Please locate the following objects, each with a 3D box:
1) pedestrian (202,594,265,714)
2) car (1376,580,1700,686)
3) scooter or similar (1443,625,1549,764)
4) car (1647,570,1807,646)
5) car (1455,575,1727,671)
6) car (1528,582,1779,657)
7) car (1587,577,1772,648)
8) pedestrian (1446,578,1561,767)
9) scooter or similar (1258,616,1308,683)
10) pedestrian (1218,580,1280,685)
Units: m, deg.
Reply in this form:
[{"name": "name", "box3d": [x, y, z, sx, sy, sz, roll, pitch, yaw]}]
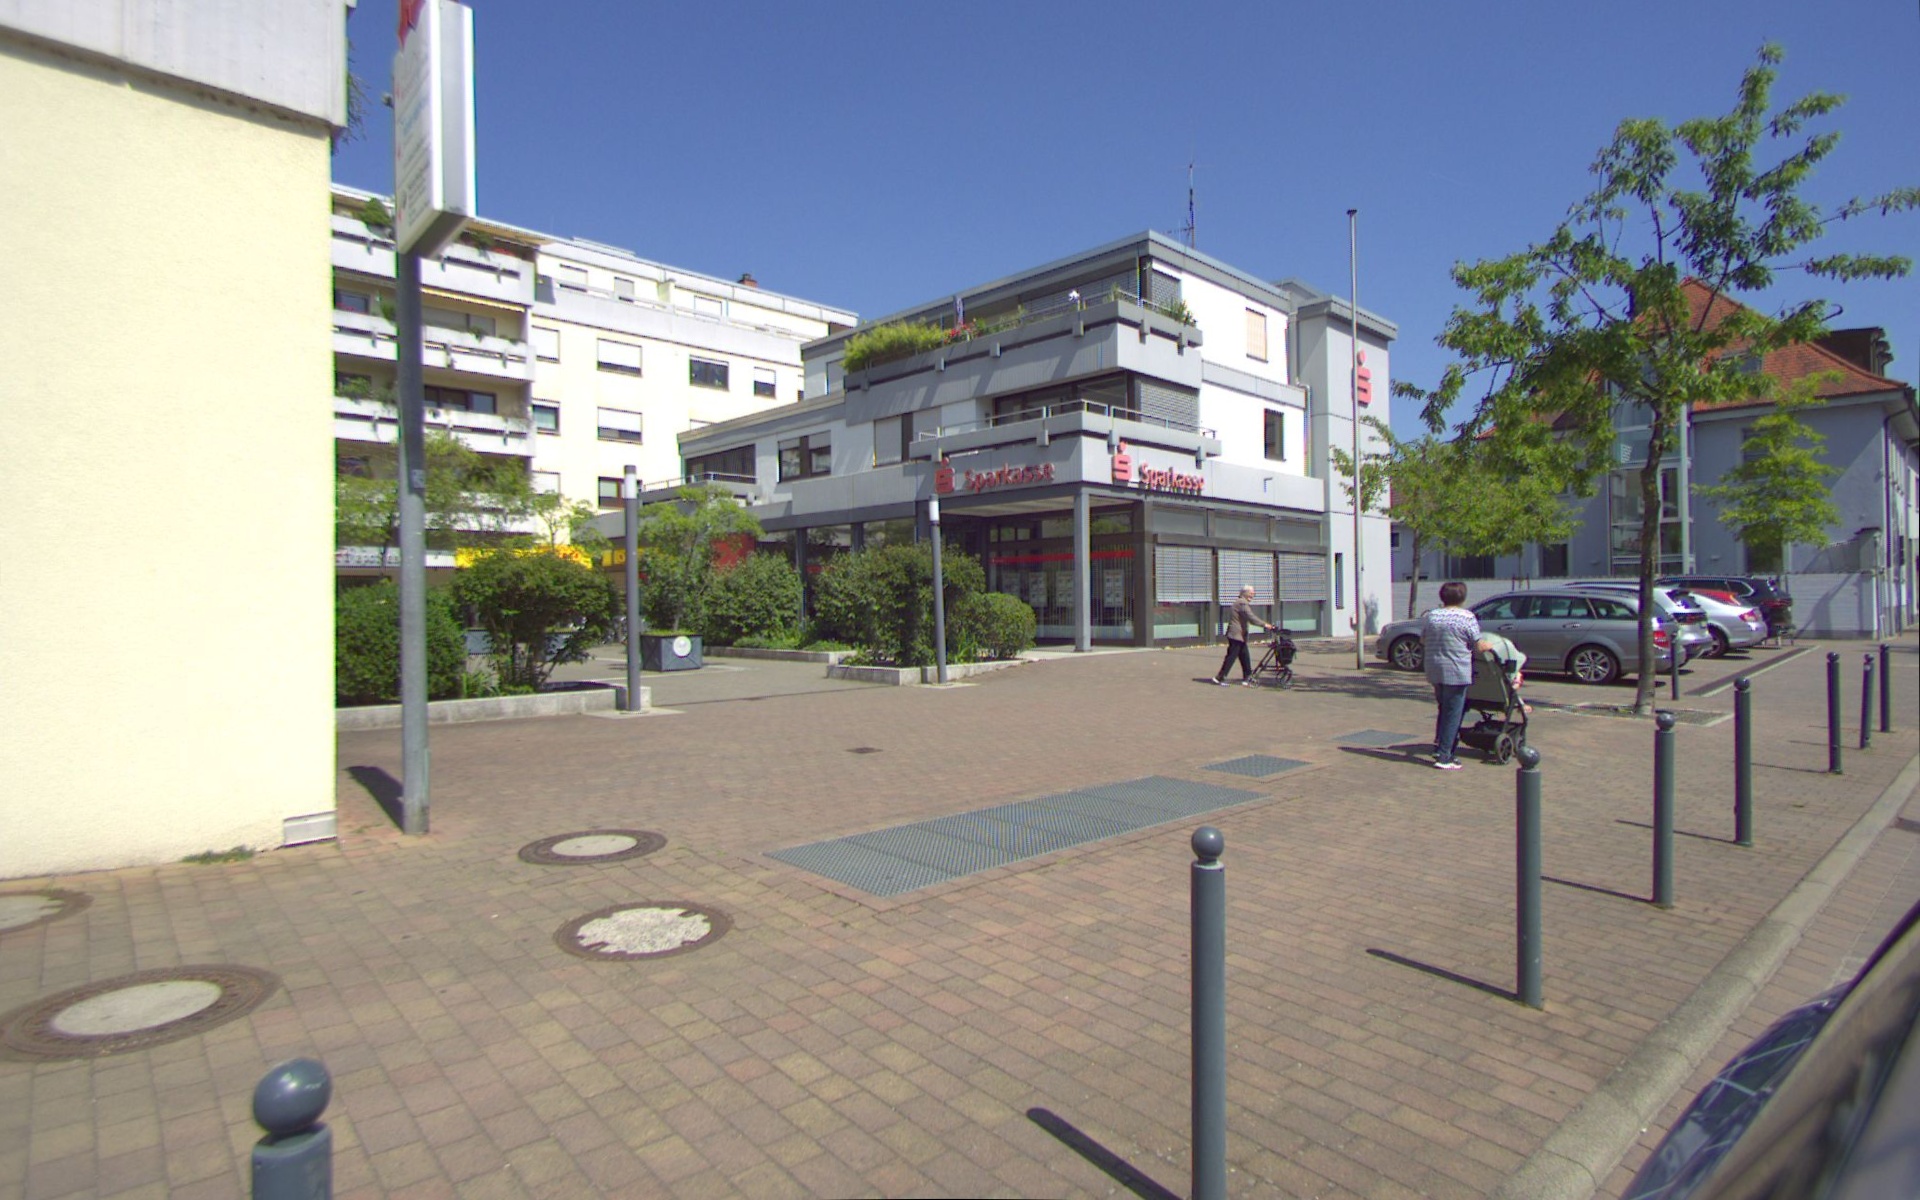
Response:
[{"name": "pedestrian", "box3d": [-9.399, 0.676, 13.089, 0.594, 1.482, 0.794, 0, 0, -40]}, {"name": "car", "box3d": [9.457, 0.441, 16.814, 4.432, 1.484, 1.664, 2, 2, 44]}, {"name": "scooter or similar", "box3d": [4.744, 0.802, 8.946, 0.892, 1.132, 0.505, 1, 0, -39]}, {"name": "car", "box3d": [18.962, 0.152, 25.095, 3.032, 1.759, 1.324, 1, 1, 44]}, {"name": "car", "box3d": [11.556, 0.332, 18.696, 4.033, 1.579, 1.686, 1, 1, 43]}, {"name": "car", "box3d": [15.229, 0.352, 22.386, 4.429, 1.460, 1.632, 1, 1, 42]}, {"name": "car", "box3d": [17.055, 0.267, 24.084, 3.421, 1.571, 1.467, 0, 0, 45]}, {"name": "pedestrian", "box3d": [4.729, 0.587, 8.788, 1.029, 1.535, 0.513, 0, 1, -39]}, {"name": "scooter or similar", "box3d": [4.770, 0.724, 14.977, 0.536, 0.958, 0.537, 0, 0, -5]}, {"name": "pedestrian", "box3d": [4.257, 0.468, 14.932, 0.709, 1.520, 0.532, 0, 0, -6]}]
